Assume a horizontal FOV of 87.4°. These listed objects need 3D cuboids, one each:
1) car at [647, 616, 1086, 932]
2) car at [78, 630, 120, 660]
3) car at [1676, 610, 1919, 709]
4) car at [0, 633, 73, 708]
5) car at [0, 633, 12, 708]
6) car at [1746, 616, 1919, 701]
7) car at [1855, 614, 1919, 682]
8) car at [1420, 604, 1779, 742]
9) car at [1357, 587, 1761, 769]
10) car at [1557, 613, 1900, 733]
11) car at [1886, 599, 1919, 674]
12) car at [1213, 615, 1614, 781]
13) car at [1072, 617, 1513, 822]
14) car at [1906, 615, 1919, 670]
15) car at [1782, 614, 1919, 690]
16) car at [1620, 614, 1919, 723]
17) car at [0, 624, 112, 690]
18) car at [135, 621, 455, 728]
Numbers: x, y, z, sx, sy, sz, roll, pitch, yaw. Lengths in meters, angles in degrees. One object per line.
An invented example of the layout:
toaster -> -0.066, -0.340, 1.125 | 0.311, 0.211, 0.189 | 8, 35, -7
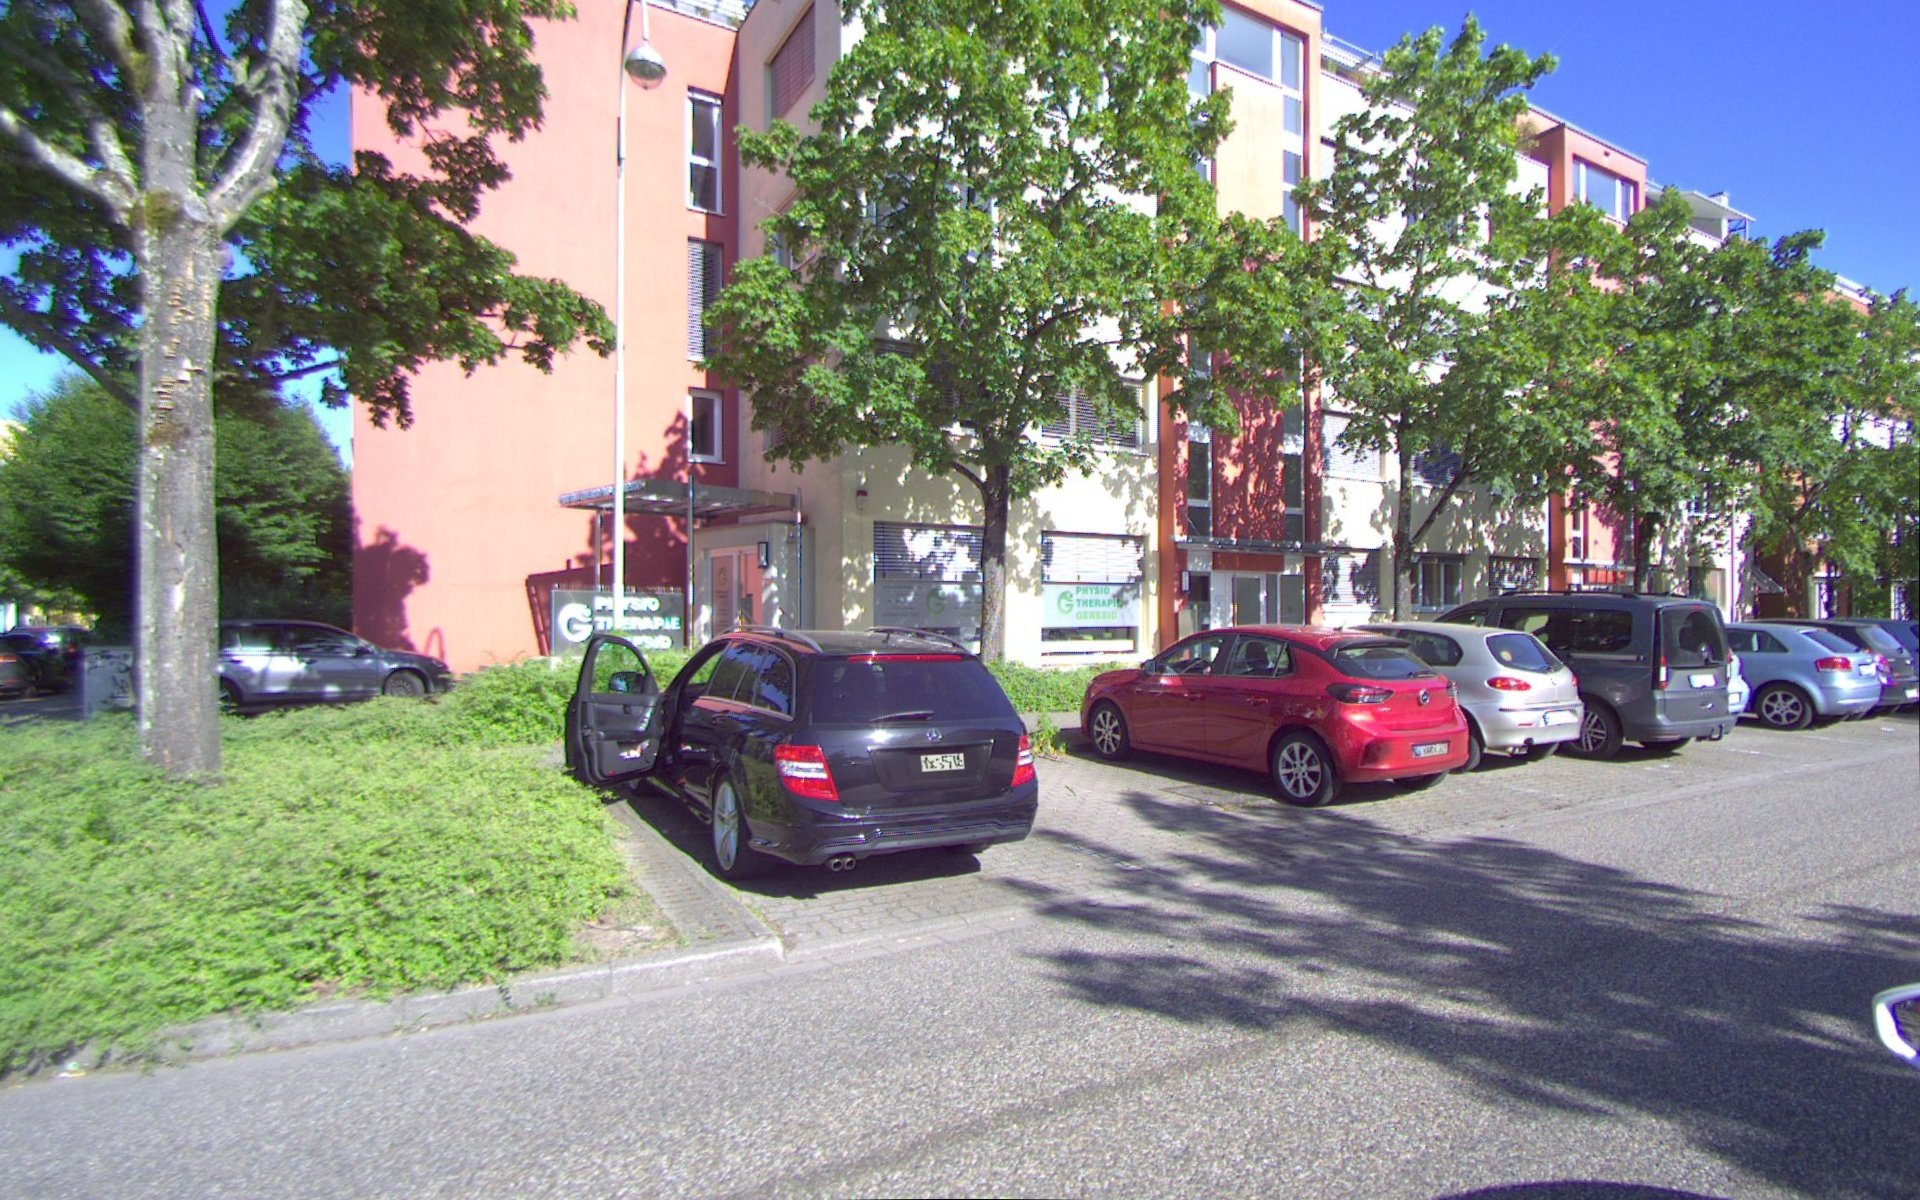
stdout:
car -> -0.998, 0.886, 7.201 | 1.717, 1.442, 4.247 | 0, 0, -27
car -> -60.276, 3.099, 70.406 | 1.827, 1.830, 3.961 | 0, 1, -35
car -> 15.309, 0.972, 17.924 | 1.838, 1.529, 3.706 | 0, 1, -31
car -> -21.482, 1.549, 22.282 | 1.914, 1.524, 3.975 | -2, 0, -31
car -> -18.921, 1.381, 17.997 | 1.914, 1.469, 3.975 | -2, 0, -31
car -> 17.383, 1.065, 18.886 | 1.820, 1.446, 3.706 | 0, 0, -31
car -> 22.011, 1.066, 21.185 | 1.753, 1.446, 4.378 | 0, 0, -32
car -> 8.791, 0.883, 14.150 | 1.838, 1.595, 3.873 | 0, 0, -30
car -> 7.056, 0.769, 12.251 | 1.765, 1.835, 3.873 | 0, 1, -30
car -> 11.342, 0.970, 15.054 | 1.857, 1.466, 3.703 | 0, 1, -34
car -> 24.149, 0.884, 22.741 | 1.939, 1.740, 4.300 | 0, 0, -30
car -> 4.881, 0.936, 11.369 | 1.719, 1.442, 3.873 | 0, 0, -30
car -> 2.923, 0.931, 9.653 | 1.719, 1.442, 3.873 | 0, 0, -30
car -> 25.916, 1.103, 24.161 | 1.737, 1.376, 4.298 | 0, 0, -31
car -> 19.566, 1.056, 20.699 | 1.752, 1.446, 3.706 | 0, 0, -31
car -> 13.246, 1.006, 16.423 | 1.840, 1.466, 3.703 | 0, 1, -34
car -> -23.909, 1.451, 26.279 | 1.914, 1.524, 3.975 | -2, 0, -31
car -> -10.576, 1.102, 16.151 | 4.101, 1.462, 1.718 | 0, -2, -42
